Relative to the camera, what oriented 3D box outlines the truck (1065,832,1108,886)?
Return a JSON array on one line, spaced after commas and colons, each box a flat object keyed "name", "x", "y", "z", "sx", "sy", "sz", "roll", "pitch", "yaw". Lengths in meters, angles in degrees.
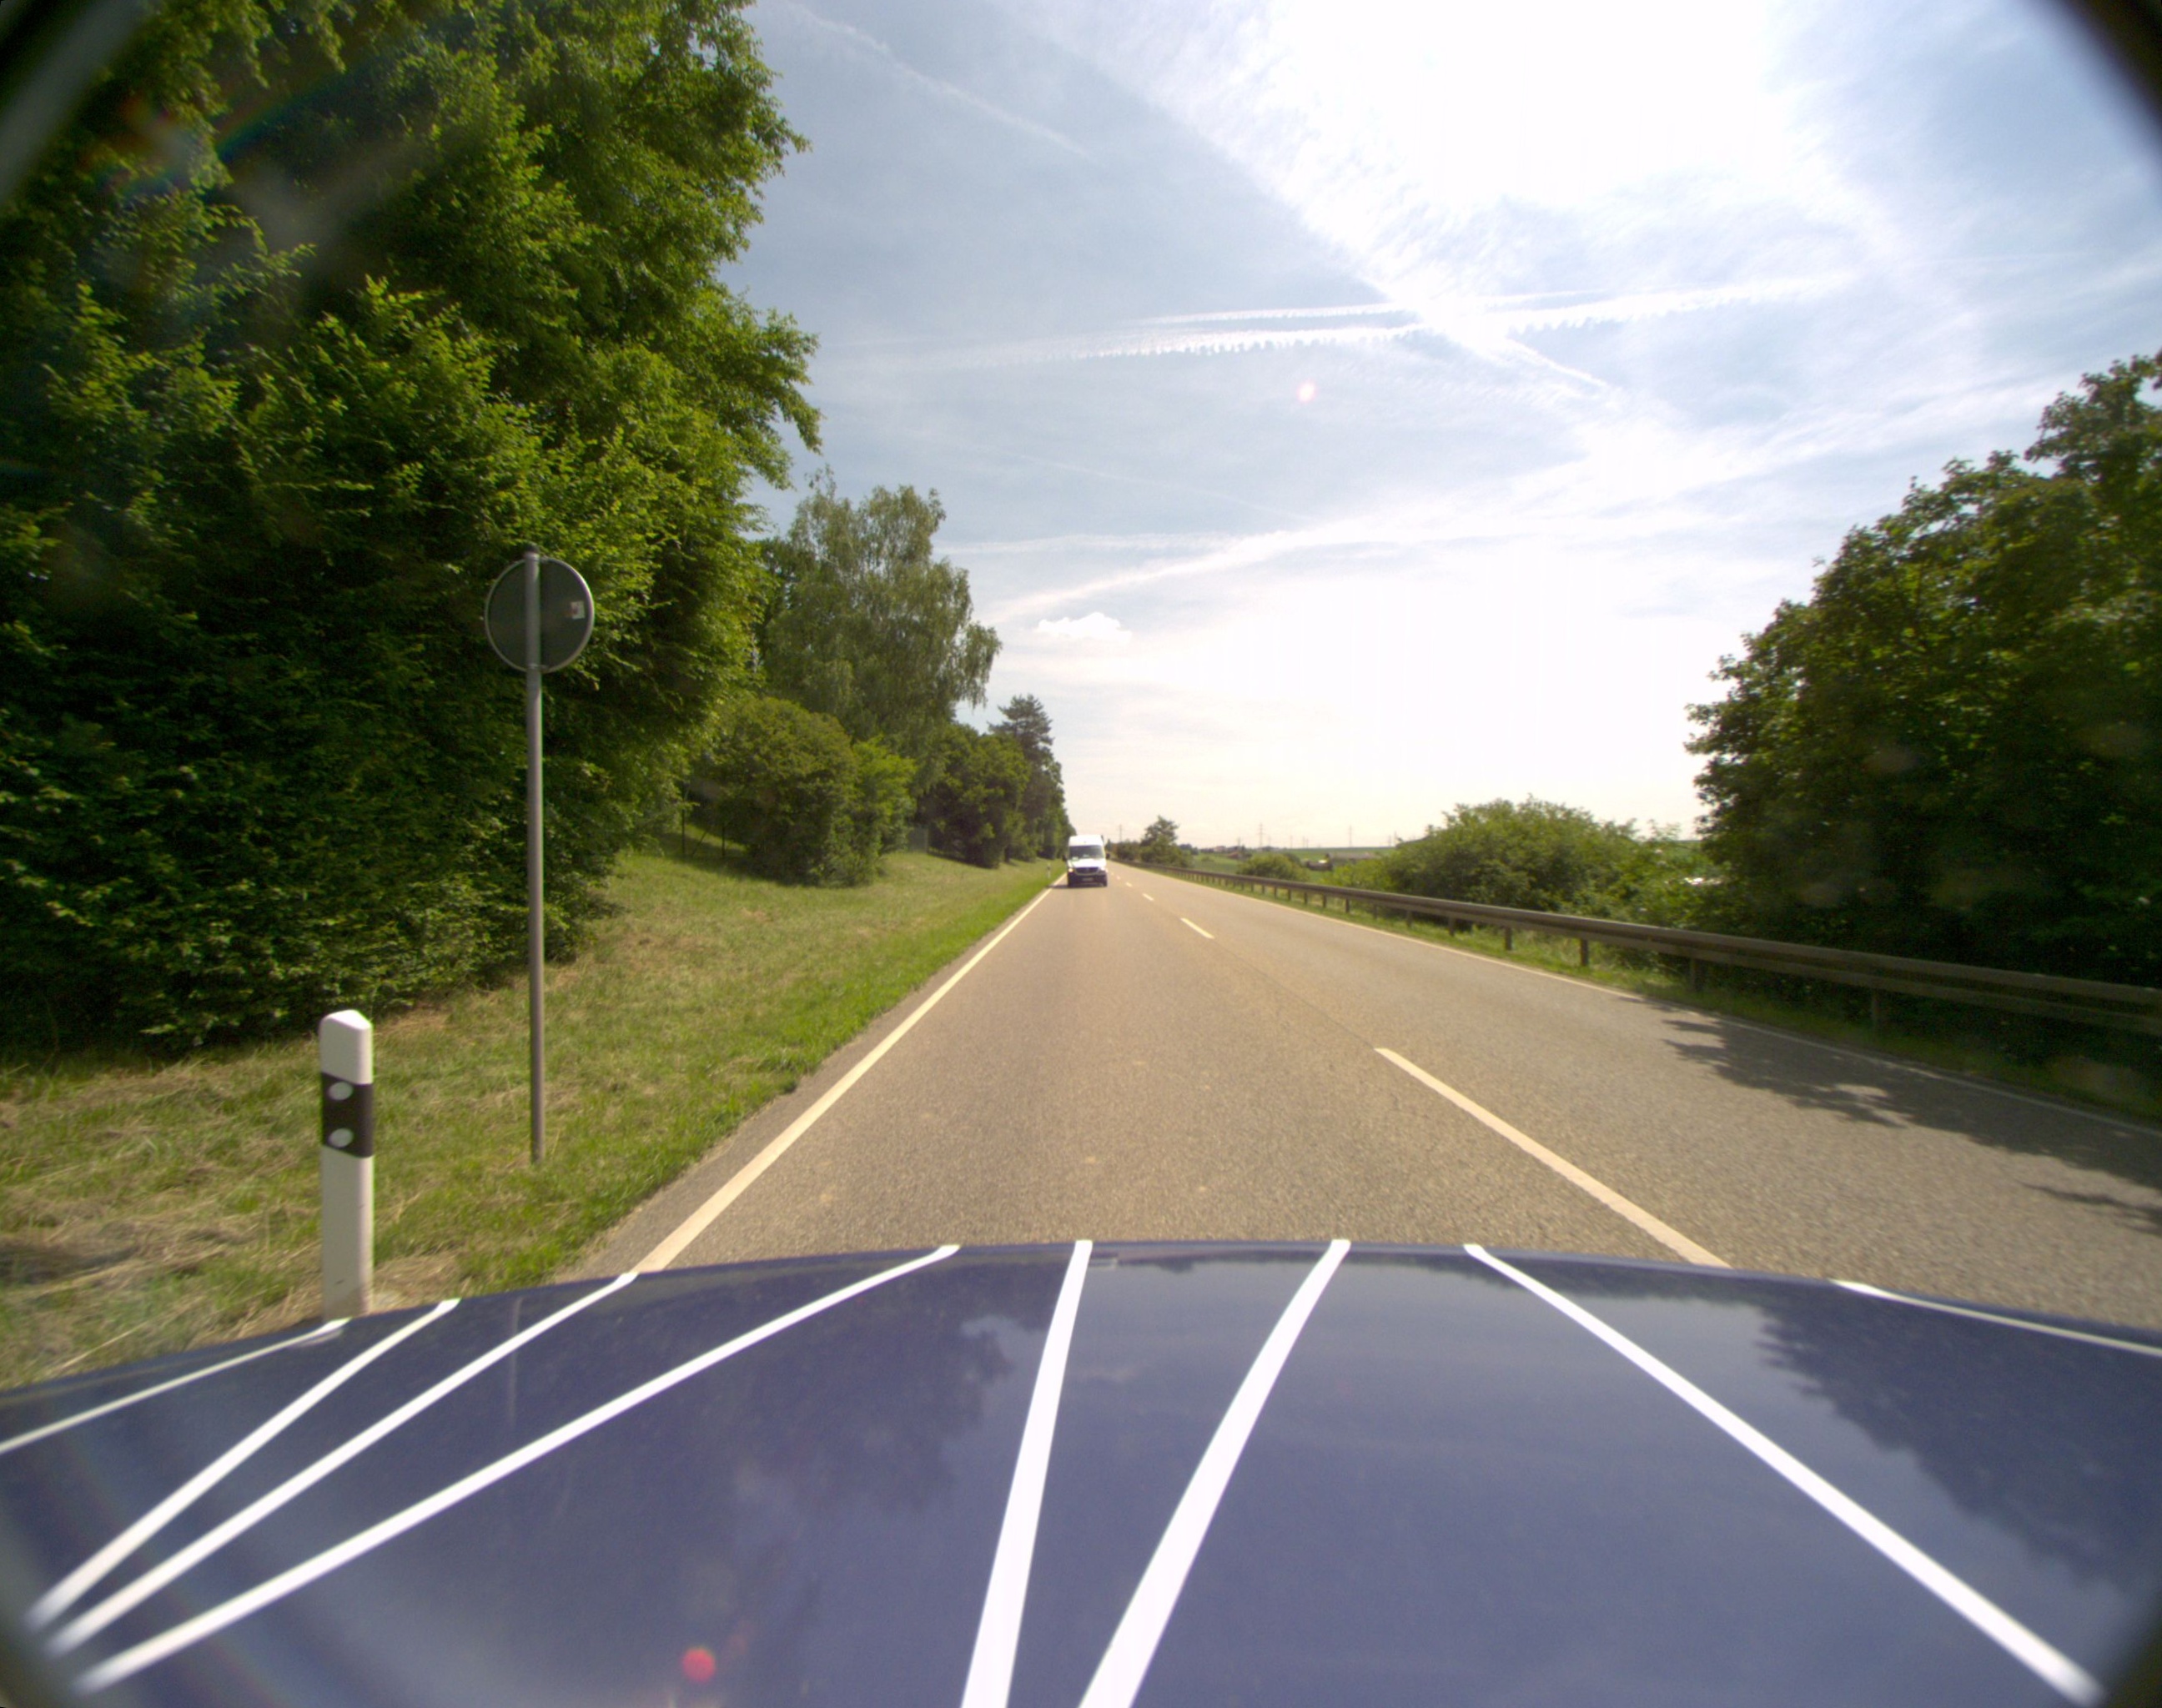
[{"name": "truck", "x": 0.322, "y": 0.239, "z": 39.968, "sx": 2.023, "sy": 2.567, "sz": 7.225, "roll": -1, "pitch": 0, "yaw": 1}]
